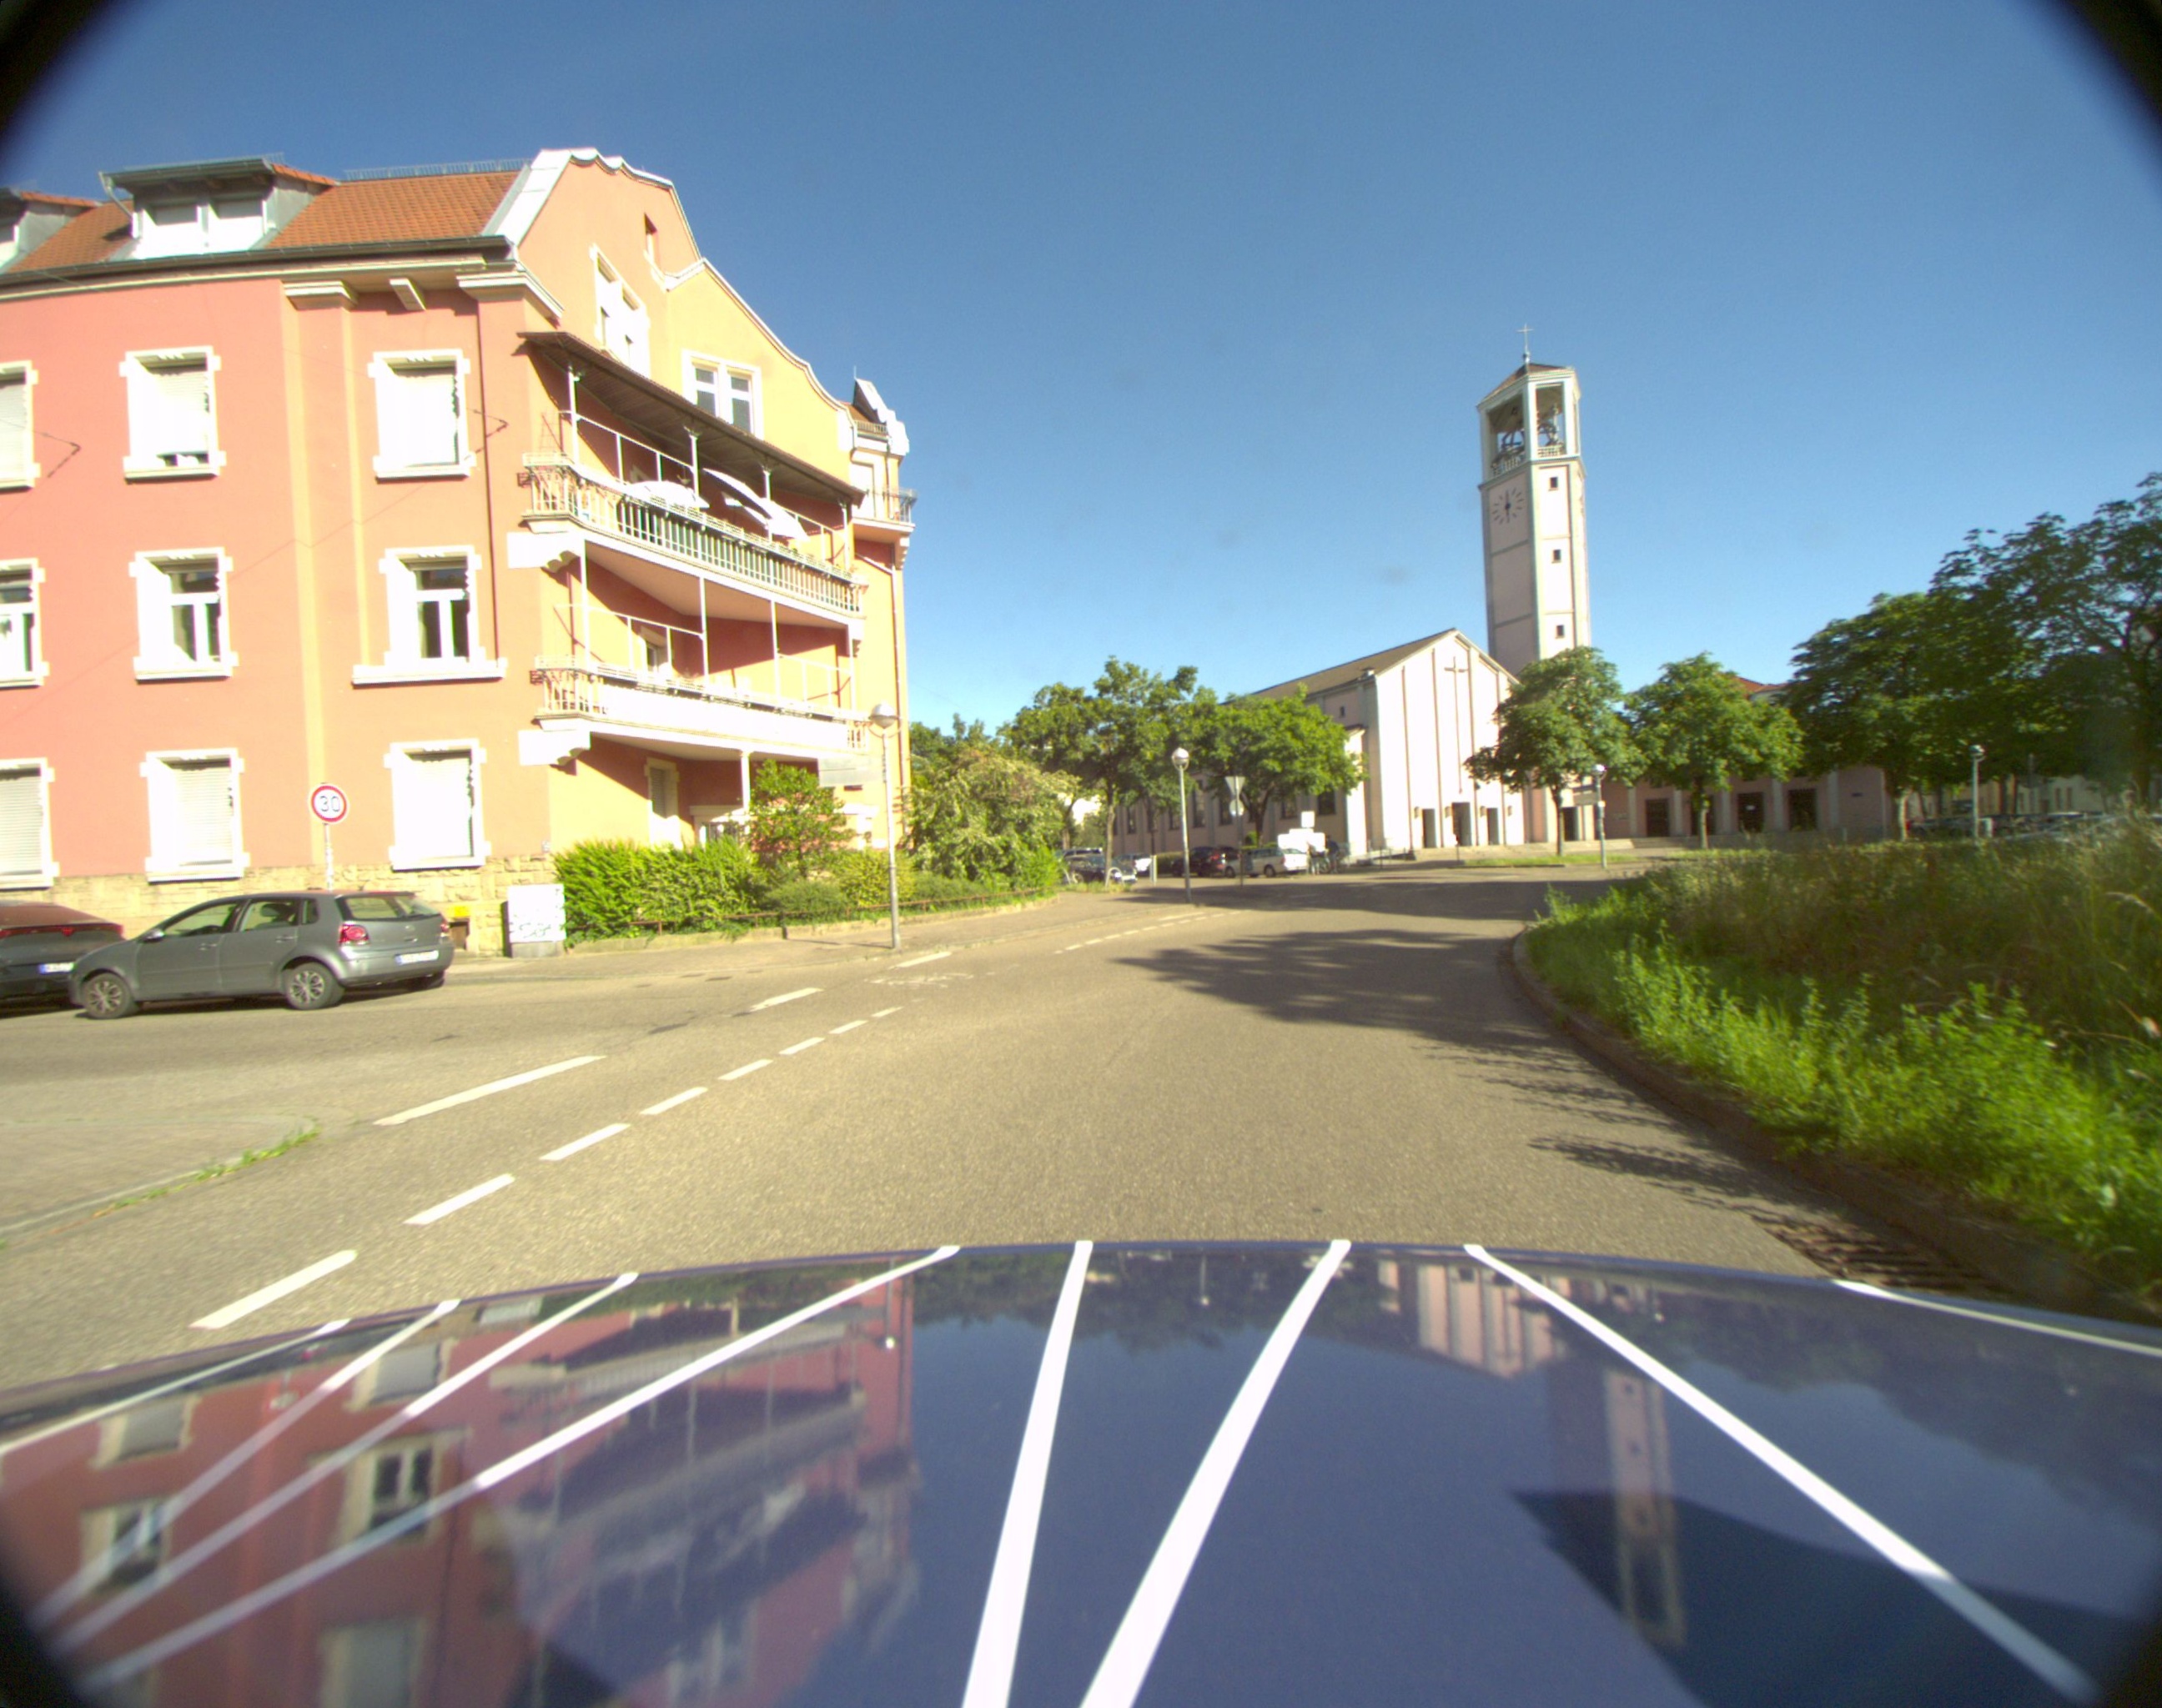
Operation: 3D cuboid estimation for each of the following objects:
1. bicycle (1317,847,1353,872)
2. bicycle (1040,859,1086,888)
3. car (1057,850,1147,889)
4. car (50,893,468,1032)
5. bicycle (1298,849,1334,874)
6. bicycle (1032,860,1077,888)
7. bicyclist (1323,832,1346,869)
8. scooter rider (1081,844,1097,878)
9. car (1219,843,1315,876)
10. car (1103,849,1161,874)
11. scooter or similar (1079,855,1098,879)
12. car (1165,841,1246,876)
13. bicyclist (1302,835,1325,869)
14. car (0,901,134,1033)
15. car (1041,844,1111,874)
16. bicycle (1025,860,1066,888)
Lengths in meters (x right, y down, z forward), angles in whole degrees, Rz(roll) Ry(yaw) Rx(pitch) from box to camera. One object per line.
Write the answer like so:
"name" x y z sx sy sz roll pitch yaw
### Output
"bicycle" 11.904 0.254 35.677 0.646 1.101 1.714 -4 1 -20
"bicycle" -0.712 0.785 30.248 1.729 1.108 0.545 -1 0 -27
"car" 0.856 0.674 33.819 1.812 1.475 4.328 -6 2 -32
"car" -10.398 1.328 9.818 3.543 1.438 1.688 -3 -1 1
"bicycle" 10.856 0.330 35.152 0.596 1.101 1.860 -4 1 -18
"bicycle" -1.080 0.818 31.045 1.729 1.108 0.545 -1 0 -27
"bicyclist" 11.882 -0.164 35.654 0.646 1.705 0.722 -4 1 -20
"scooter rider" 0.417 0.387 42.081 0.626 1.821 0.630 -3 1 -21
"car" 8.707 0.292 35.895 1.812 1.407 4.328 -2 0 -32
"car" 3.150 0.474 47.670 1.812 1.465 4.330 -2 0 -24
"scooter or similar" 0.424 0.699 42.098 0.633 1.275 1.104 -3 1 -21
"car" 6.579 0.268 40.468 1.812 1.718 4.328 -2 0 -32
"bicyclist" 10.784 -0.091 35.288 0.596 1.572 0.803 -4 1 -18
"car" -15.393 1.512 9.779 4.291 1.553 1.688 -3 -1 1
"car" -0.345 0.363 55.129 4.787 1.989 1.805 -2 0 -32
"bicycle" -1.472 0.834 31.933 1.834 1.100 0.499 -1 0 -43
